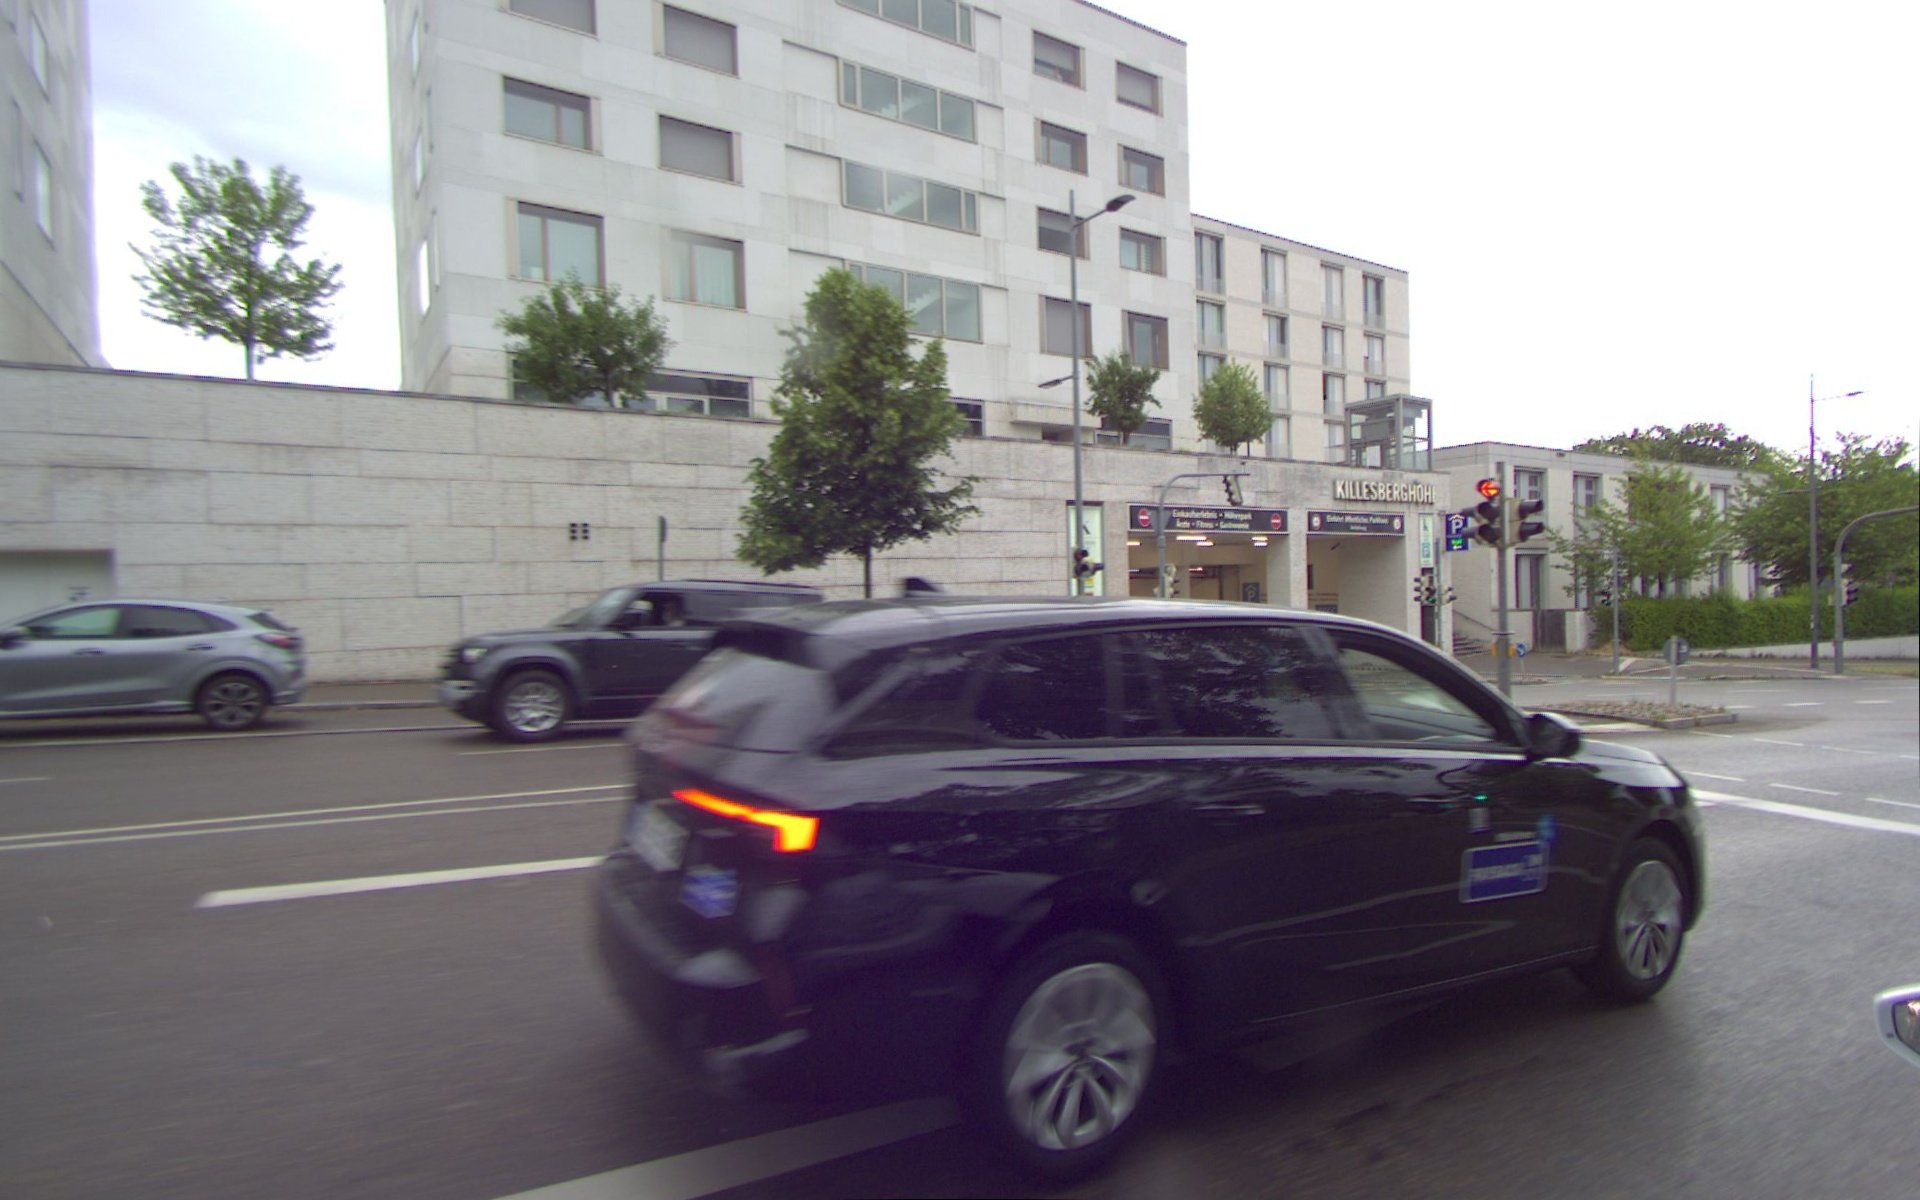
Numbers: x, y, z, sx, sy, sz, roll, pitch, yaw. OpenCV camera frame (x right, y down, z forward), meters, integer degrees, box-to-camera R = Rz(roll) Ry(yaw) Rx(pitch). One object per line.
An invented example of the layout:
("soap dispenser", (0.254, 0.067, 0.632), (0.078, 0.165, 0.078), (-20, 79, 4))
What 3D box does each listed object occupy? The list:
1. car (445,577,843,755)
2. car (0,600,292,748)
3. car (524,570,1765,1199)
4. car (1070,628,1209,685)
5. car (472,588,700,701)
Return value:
("car", (-3.898, 0.765, 12.642), (4.456, 1.882, 1.910), (1, -2, -32))
("car", (-9.920, 0.803, 11.571), (3.672, 1.535, 1.669), (1, -2, -34))
("car", (0.903, 0.715, 3.757), (4.467, 1.450, 1.791), (2, 0, -30))
("car", (5.799, 1.791, 32.955), (1.908, 1.694, 4.473), (2, -1, -34))
("car", (-5.626, 0.633, 15.171), (2.949, 1.535, 1.499), (1, 0, -34))
